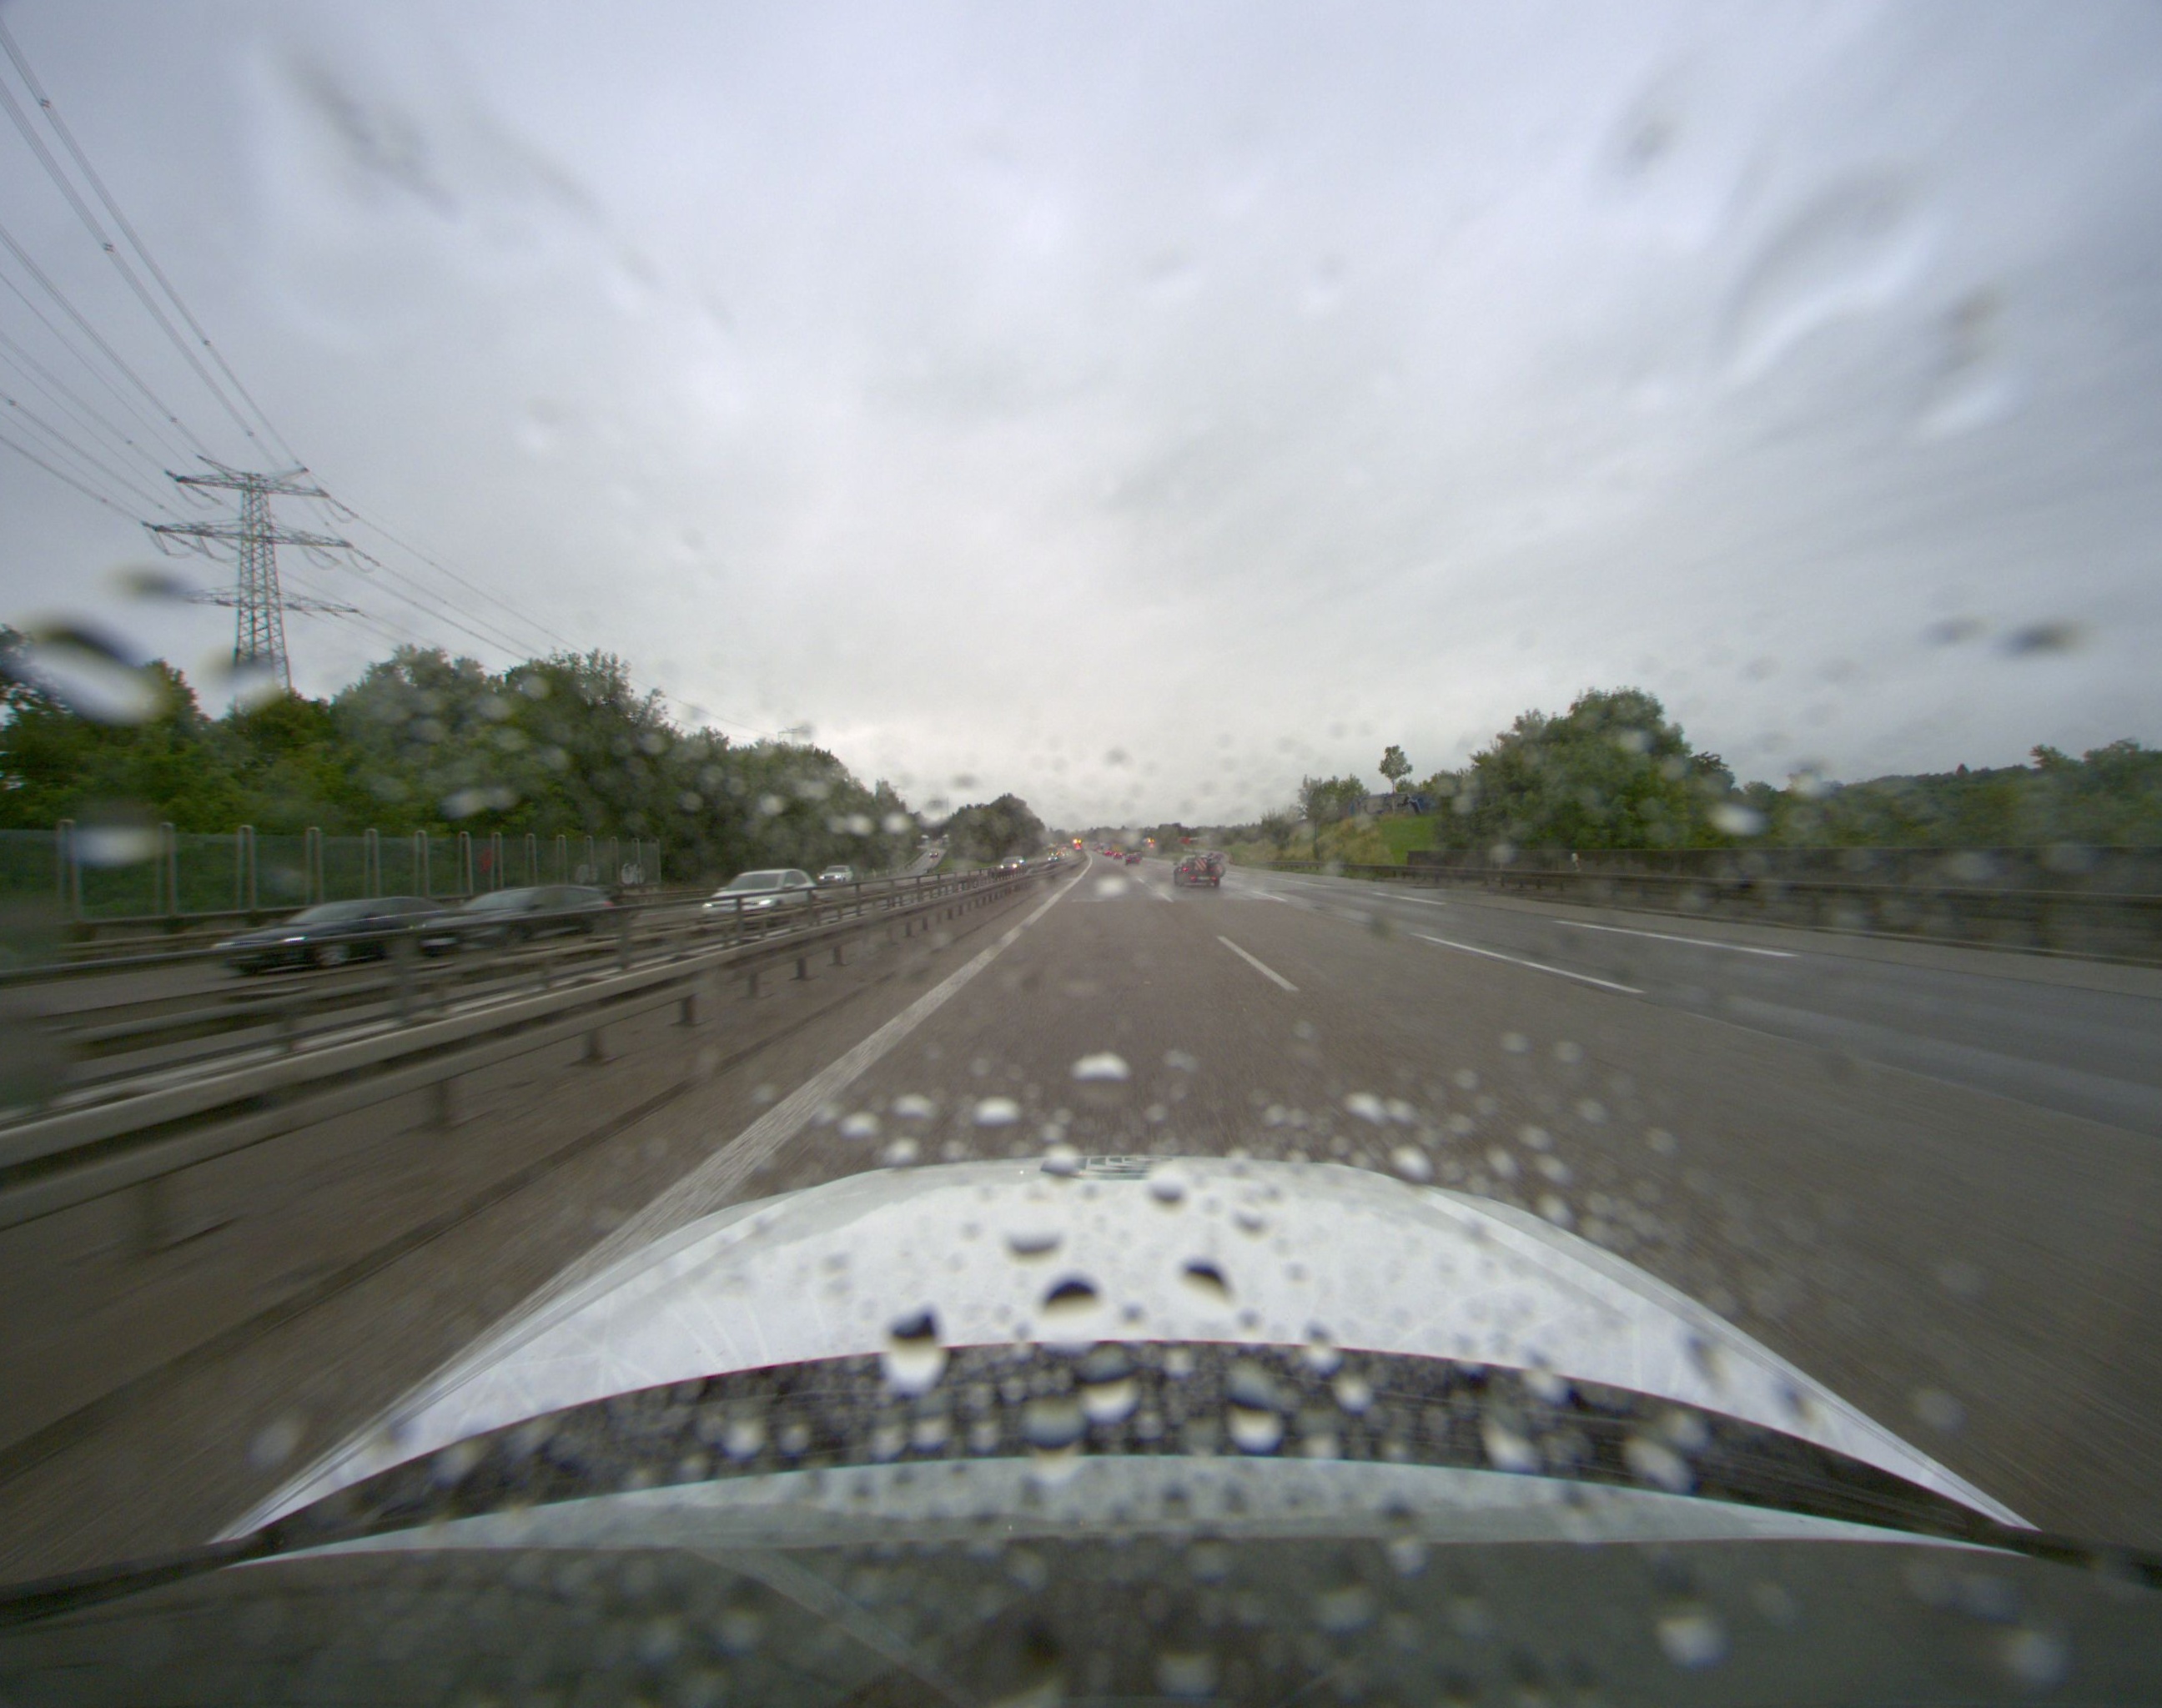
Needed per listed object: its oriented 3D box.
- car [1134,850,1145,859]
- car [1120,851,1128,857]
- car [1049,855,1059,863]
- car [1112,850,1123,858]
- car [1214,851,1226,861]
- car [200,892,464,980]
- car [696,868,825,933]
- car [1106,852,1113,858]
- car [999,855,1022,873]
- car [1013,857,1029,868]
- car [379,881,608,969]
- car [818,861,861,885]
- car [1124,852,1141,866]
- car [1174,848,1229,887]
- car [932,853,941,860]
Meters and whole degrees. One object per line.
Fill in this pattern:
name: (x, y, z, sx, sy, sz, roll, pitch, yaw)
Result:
car: (11.983, 0.067, 166.587, 1.987, 1.761, 4.000, 0, 0, 0)
car: (12.921, -0.064, 244.696, 1.987, 1.628, 4.000, -3, 0, 0)
car: (-5.851, 1.082, 174.540, 1.751, 1.461, 4.763, -4, 0, 1)
car: (7.874, -0.034, 175.629, 1.987, 1.628, 4.000, -3, 0, 0)
car: (25.253, 0.320, 147.786, 1.912, 1.709, 4.008, -3, 0, 7)
car: (-15.956, 1.669, 17.707, 1.809, 1.388, 4.091, -3, 0, 2)
car: (-8.476, 1.171, 21.952, 1.650, 1.437, 4.091, -3, 0, 2)
car: (8.288, 0.250, 235.971, 1.987, 1.628, 4.000, -3, 0, 0)
car: (-7.146, 0.997, 82.299, 1.822, 1.594, 3.816, -3, 0, 1)
car: (-9.588, 1.288, 130.356, 1.898, 1.665, 4.715, -3, 0, 1)
car: (-12.420, 1.434, 17.607, 1.809, 1.437, 4.091, -3, 0, 2)
car: (-20.181, 1.552, 68.275, 1.942, 1.819, 4.917, -3, 0, 1)
car: (6.738, 0.665, 106.854, 1.987, 1.761, 4.000, -3, 0, 0)
car: (5.492, 0.599, 37.836, 2.049, 1.671, 5.526, -1, -1, 3)
car: (-34.909, 0.621, 196.885, 1.969, 1.543, 3.985, -2, 0, -11)
